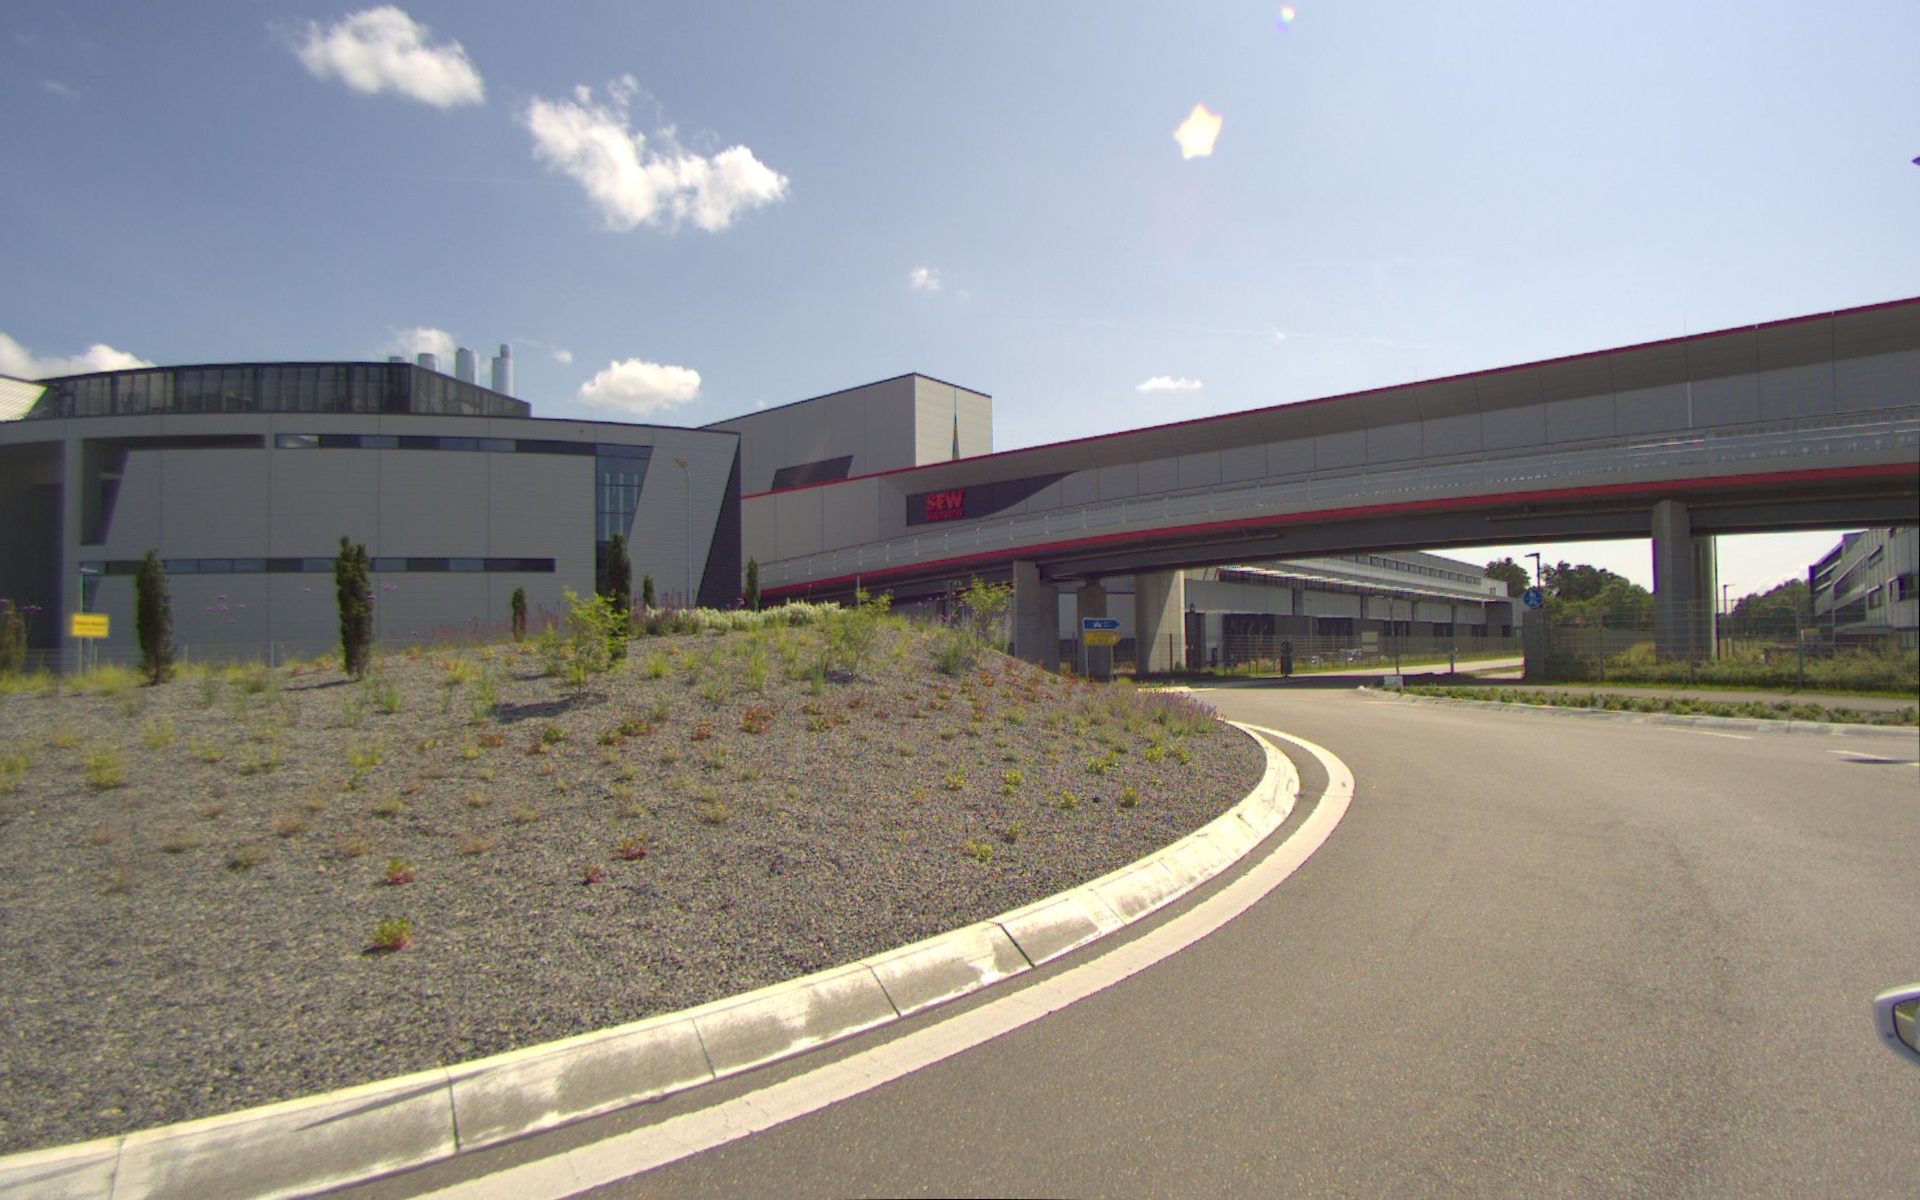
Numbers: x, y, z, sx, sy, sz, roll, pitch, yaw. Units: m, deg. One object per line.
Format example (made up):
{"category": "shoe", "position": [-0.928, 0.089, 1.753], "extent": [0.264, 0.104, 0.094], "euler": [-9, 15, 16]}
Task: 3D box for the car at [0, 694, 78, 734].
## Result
{"category": "car", "position": [-46.880, 5.647, 49.824], "extent": [1.960, 1.712, 4.317], "euler": [-1, -3, 13]}
